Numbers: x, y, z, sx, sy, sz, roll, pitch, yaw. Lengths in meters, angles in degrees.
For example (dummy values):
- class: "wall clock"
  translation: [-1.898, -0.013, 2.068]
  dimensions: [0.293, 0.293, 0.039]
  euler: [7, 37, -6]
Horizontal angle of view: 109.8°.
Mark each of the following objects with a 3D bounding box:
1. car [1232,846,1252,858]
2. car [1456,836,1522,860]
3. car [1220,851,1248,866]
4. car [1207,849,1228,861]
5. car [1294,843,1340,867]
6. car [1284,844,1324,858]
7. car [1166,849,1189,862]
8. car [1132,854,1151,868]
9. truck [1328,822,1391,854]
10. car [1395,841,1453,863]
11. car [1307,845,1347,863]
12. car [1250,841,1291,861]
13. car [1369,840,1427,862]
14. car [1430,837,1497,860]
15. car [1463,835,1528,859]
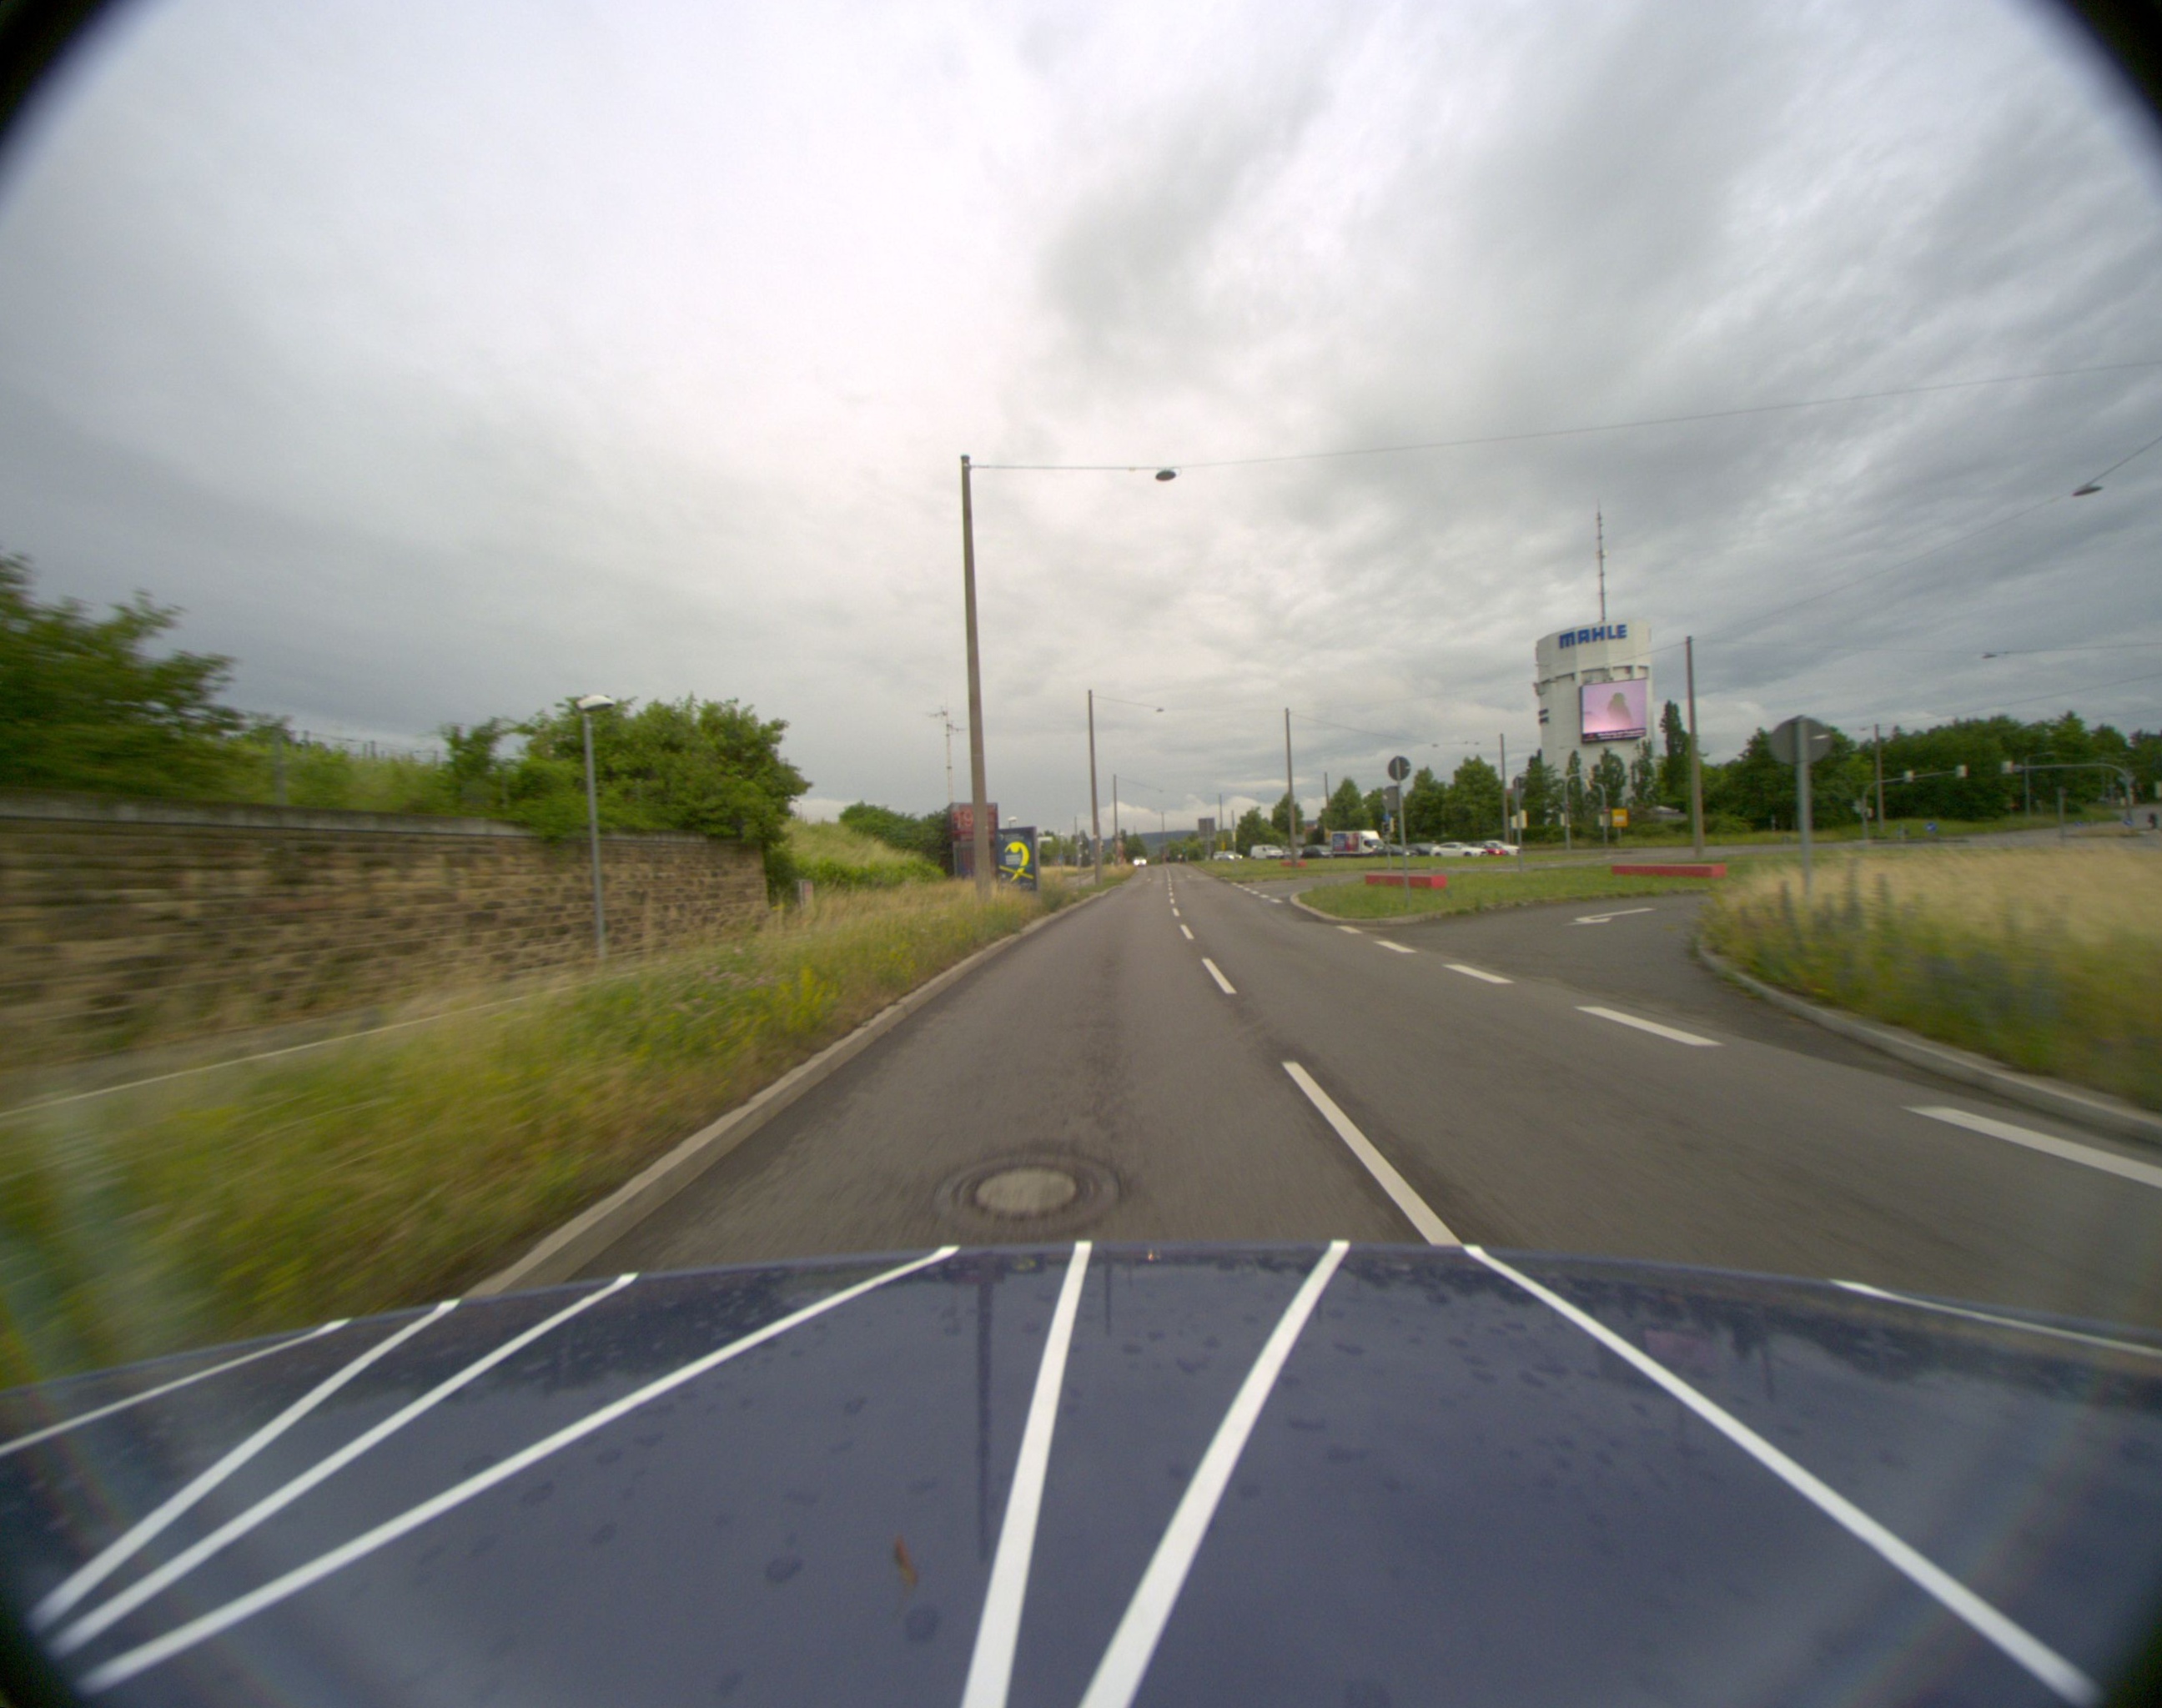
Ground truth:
- class: "car"
  translation: [30.407, -0.335, 143.786]
  dimensions: [2.000, 2.002, 3.996]
  euler: [-5, 0, -12]
- class: "car"
  translation: [34.864, -0.495, 65.056]
  dimensions: [2.003, 1.672, 4.511]
  euler: [-5, 0, -34]
- class: "car"
  translation: [20.706, 0.626, 102.887]
  dimensions: [2.000, 1.790, 5.167]
  euler: [-5, 0, -8]
- class: "car"
  translation: [22.320, 0.215, 124.628]
  dimensions: [2.000, 1.772, 3.997]
  euler: [-5, 0, -11]
- class: "car"
  translation: [23.981, 0.148, 77.434]
  dimensions: [2.001, 2.168, 5.165]
  euler: [-5, 0, -14]
- class: "car"
  translation: [25.096, -0.341, 85.719]
  dimensions: [2.001, 1.303, 4.525]
  euler: [-5, 0, -17]
- class: "car"
  translation: [14.950, 0.211, 117.778]
  dimensions: [2.000, 1.790, 5.167]
  euler: [-5, 0, -8]
- class: "car"
  translation: [9.076, 1.052, 114.881]
  dimensions: [1.999, 2.002, 3.998]
  euler: [-5, 0, -5]
- class: "truck"
  translation: [28.229, -1.571, 77.245]
  dimensions: [2.133, 2.818, 6.021]
  euler: [-5, 0, -26]
- class: "car"
  translation: [31.606, -0.164, 70.185]
  dimensions: [2.002, 1.672, 4.512]
  euler: [-5, 0, -27]
- class: "car"
  translation: [27.933, 0.008, 86.555]
  dimensions: [2.001, 1.672, 4.515]
  euler: [-5, 0, -17]
- class: "car"
  translation: [23.079, -0.347, 92.785]
  dimensions: [2.375, 2.168, 5.303]
  euler: [-5, 0, -14]
- class: "car"
  translation: [28.260, -0.260, 67.920]
  dimensions: [2.002, 1.672, 4.513]
  euler: [-5, 0, -24]
- class: "car"
  translation: [31.644, -0.435, 62.992]
  dimensions: [2.003, 1.673, 4.511]
  euler: [-5, 1, -30]
- class: "car"
  translation: [36.478, -0.589, 66.912]
  dimensions: [2.003, 1.672, 4.511]
  euler: [-5, 0, -33]
